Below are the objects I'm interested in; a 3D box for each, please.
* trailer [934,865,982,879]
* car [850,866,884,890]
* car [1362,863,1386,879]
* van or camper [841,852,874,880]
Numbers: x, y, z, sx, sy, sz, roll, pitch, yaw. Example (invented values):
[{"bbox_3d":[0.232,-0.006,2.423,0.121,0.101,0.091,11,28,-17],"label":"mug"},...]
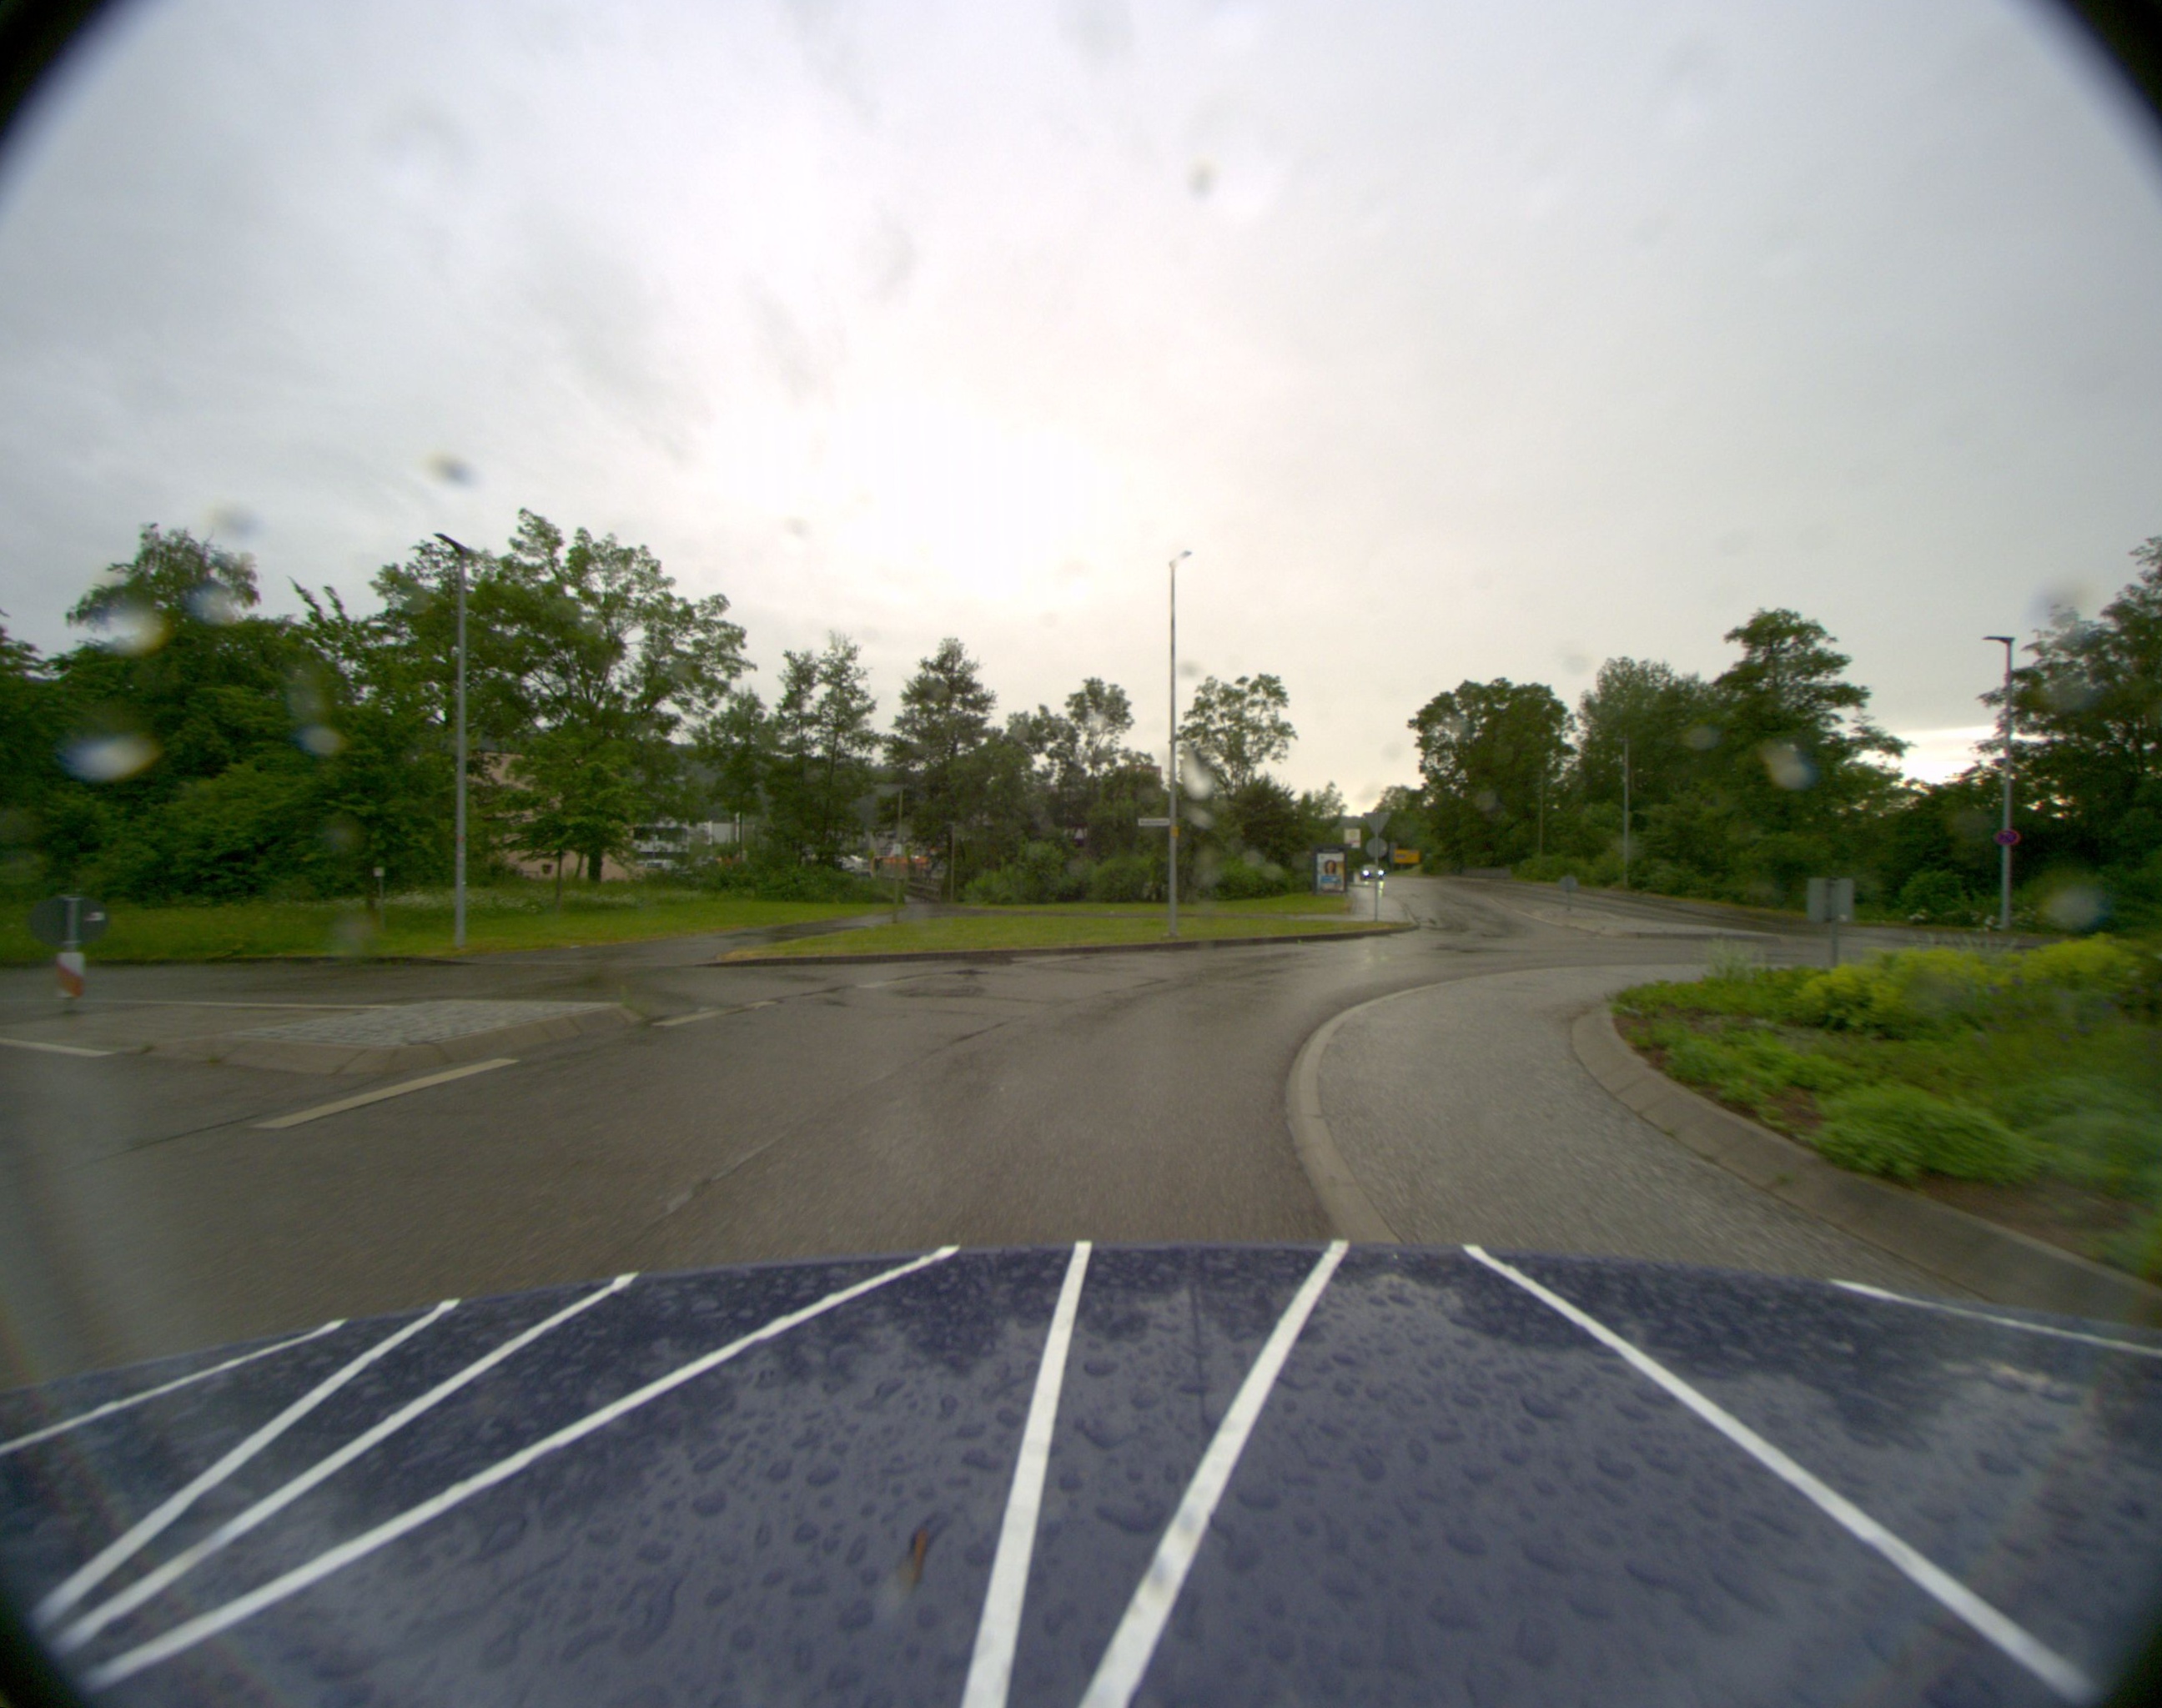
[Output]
[{"bbox_3d":[-17.610,2.564,109.156,6.635,2.002,2.575,0,1,-6],"label":"trailer"},{"bbox_3d":[-16.182,1.785,57.369,2.002,1.703,3.992,0,0,-23],"label":"car"},{"bbox_3d":[28.787,1.680,74.754,1.853,1.481,4.126,0,-1,15],"label":"car"},{"bbox_3d":[-19.588,1.026,66.476,2.545,2.231,5.967,2,-1,-18],"label":"van or camper"}]
